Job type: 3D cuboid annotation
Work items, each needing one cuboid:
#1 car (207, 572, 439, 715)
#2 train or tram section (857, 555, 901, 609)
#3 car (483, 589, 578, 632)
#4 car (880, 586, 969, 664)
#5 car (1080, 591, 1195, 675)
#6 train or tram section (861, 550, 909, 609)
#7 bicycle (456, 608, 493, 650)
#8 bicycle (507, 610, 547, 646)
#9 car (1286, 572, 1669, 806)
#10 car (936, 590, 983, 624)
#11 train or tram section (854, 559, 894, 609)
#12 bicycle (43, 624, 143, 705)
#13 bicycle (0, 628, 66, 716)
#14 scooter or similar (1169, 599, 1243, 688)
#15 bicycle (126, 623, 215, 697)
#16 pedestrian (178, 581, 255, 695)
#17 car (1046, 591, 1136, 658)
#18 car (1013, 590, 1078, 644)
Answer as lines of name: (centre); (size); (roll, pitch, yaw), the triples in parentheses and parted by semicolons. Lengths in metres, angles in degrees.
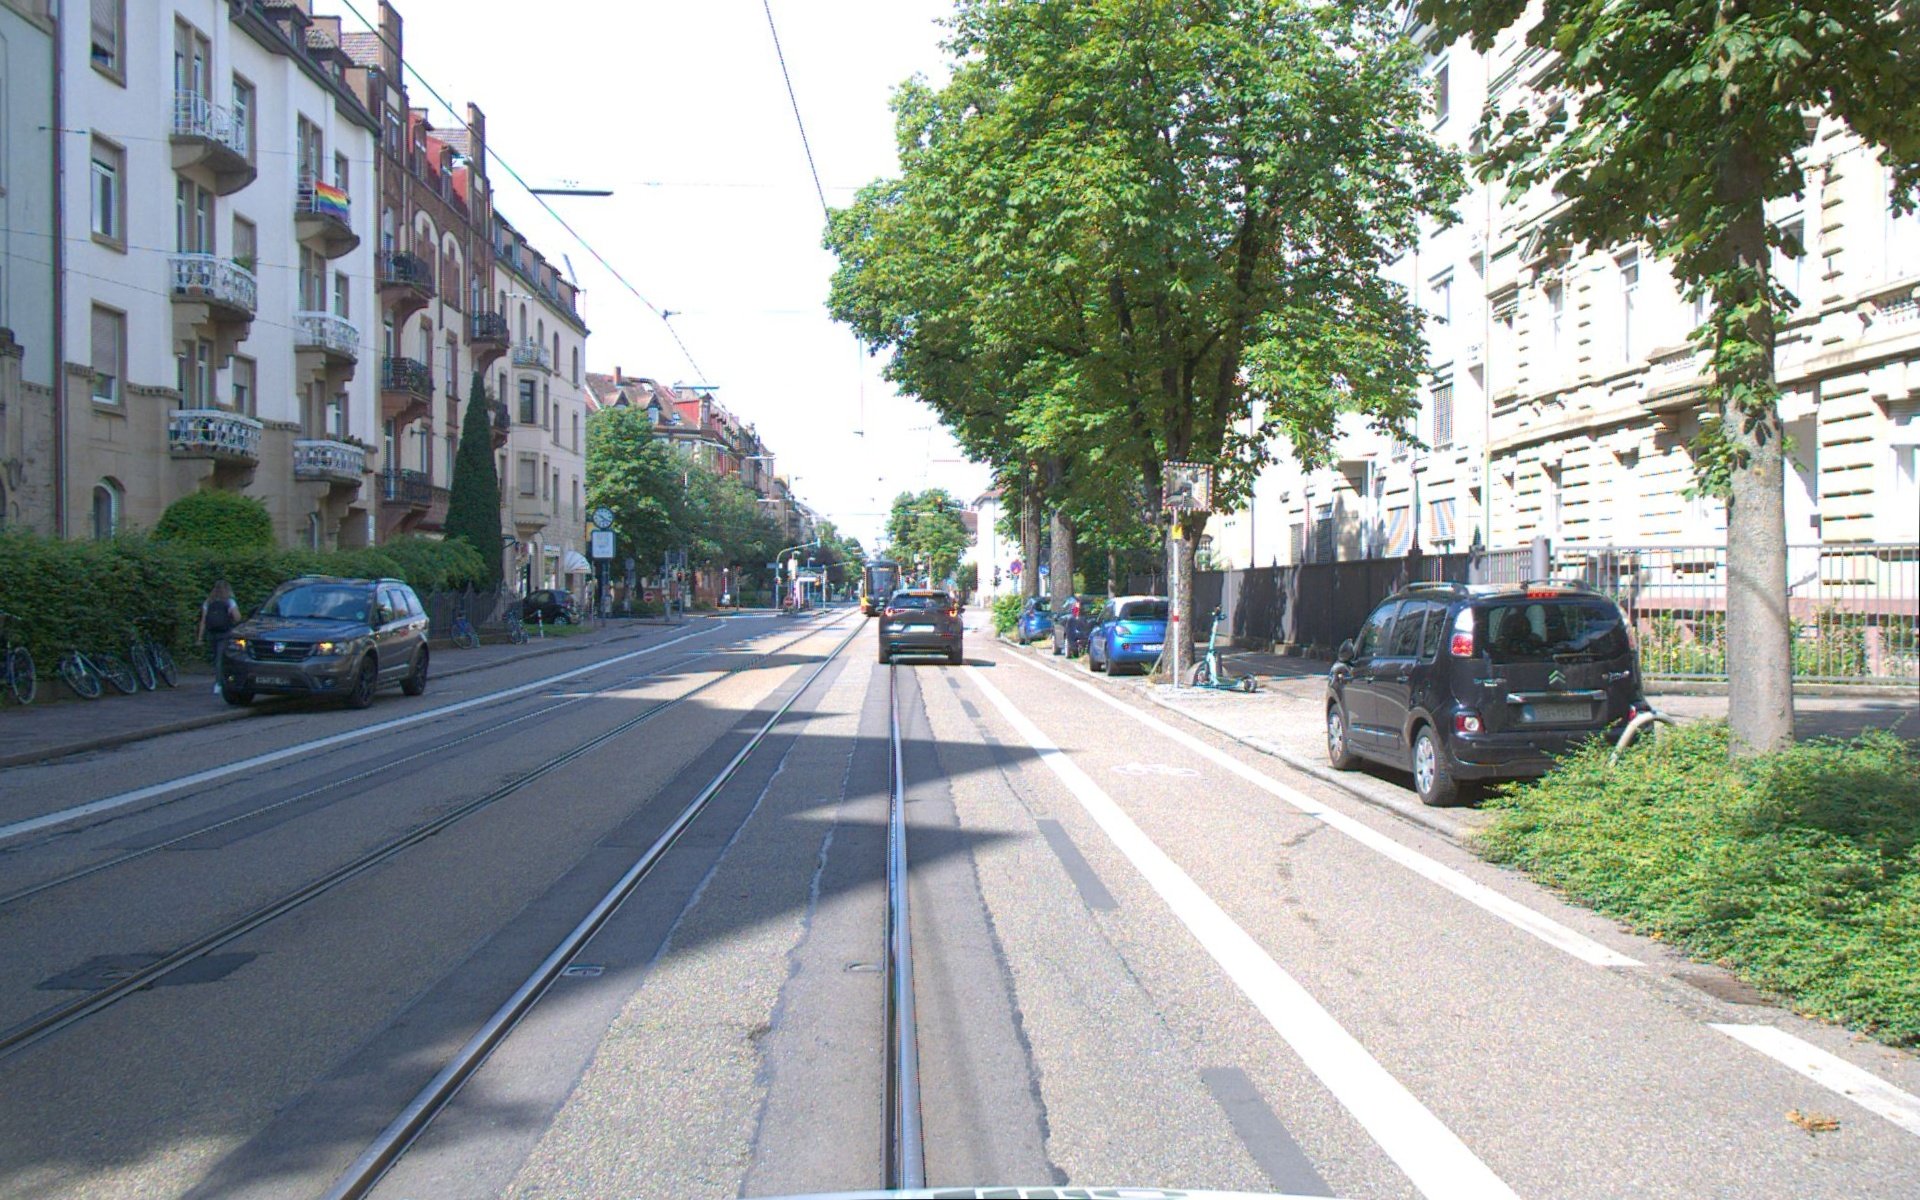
car: (-8.826, 0.529, 23.369); (1.750, 1.793, 4.878); (0, 0, -5)
train or tram section: (-5.695, -1.214, 115.406); (2.600, 3.589, 8.486); (-1, 0, -5)
car: (-16.618, 0.401, 64.109); (3.170, 1.539, 1.679); (1, 0, 1)
car: (-0.824, 0.500, 35.823); (1.754, 1.538, 4.348); (1, 1, -4)
car: (3.454, 0.606, 32.713); (1.607, 1.522, 3.624); (-2, 0, -4)
train or tram section: (-4.903, -1.269, 106.932); (2.600, 3.589, 8.486); (-1, 0, -5)
bicycle: (-12.116, 0.716, 41.334); (0.417, 0.976, 1.705); (1, 0, -1)
bicycle: (-12.272, 0.793, 46.893); (0.500, 0.976, 1.816); (3, -2, 4)
car: (4.144, 0.645, 14.010); (1.663, 1.619, 4.199); (-2, 0, -4)
car: (-0.065, 0.302, 76.117); (1.750, 1.518, 4.878); (0, 0, -5)
train or tram section: (-6.480, -1.164, 123.843); (2.600, 3.589, 8.486); (-1, 0, -5)
bicycle: (-11.414, 0.831, 21.833); (0.375, 0.976, 1.809); (1, 0, -1)
bicycle: (-11.348, 0.850, 19.743); (0.375, 0.976, 1.809); (1, 0, -1)
scooter or similar: (3.833, 0.665, 25.803); (0.437, 1.322, 1.169); (-4, 2, -33)
bicycle: (-11.423, 0.849, 23.972); (0.375, 0.976, 1.921); (1, 0, -1)
pedestrian: (-10.656, 0.534, 23.731); (0.666, 1.596, 0.882); (2, 0, 0)
car: (3.175, 0.567, 40.627); (1.607, 1.522, 3.754); (-2, 0, -4)
car: (2.581, 0.500, 50.874); (1.591, 1.522, 3.846); (-2, 0, -3)
